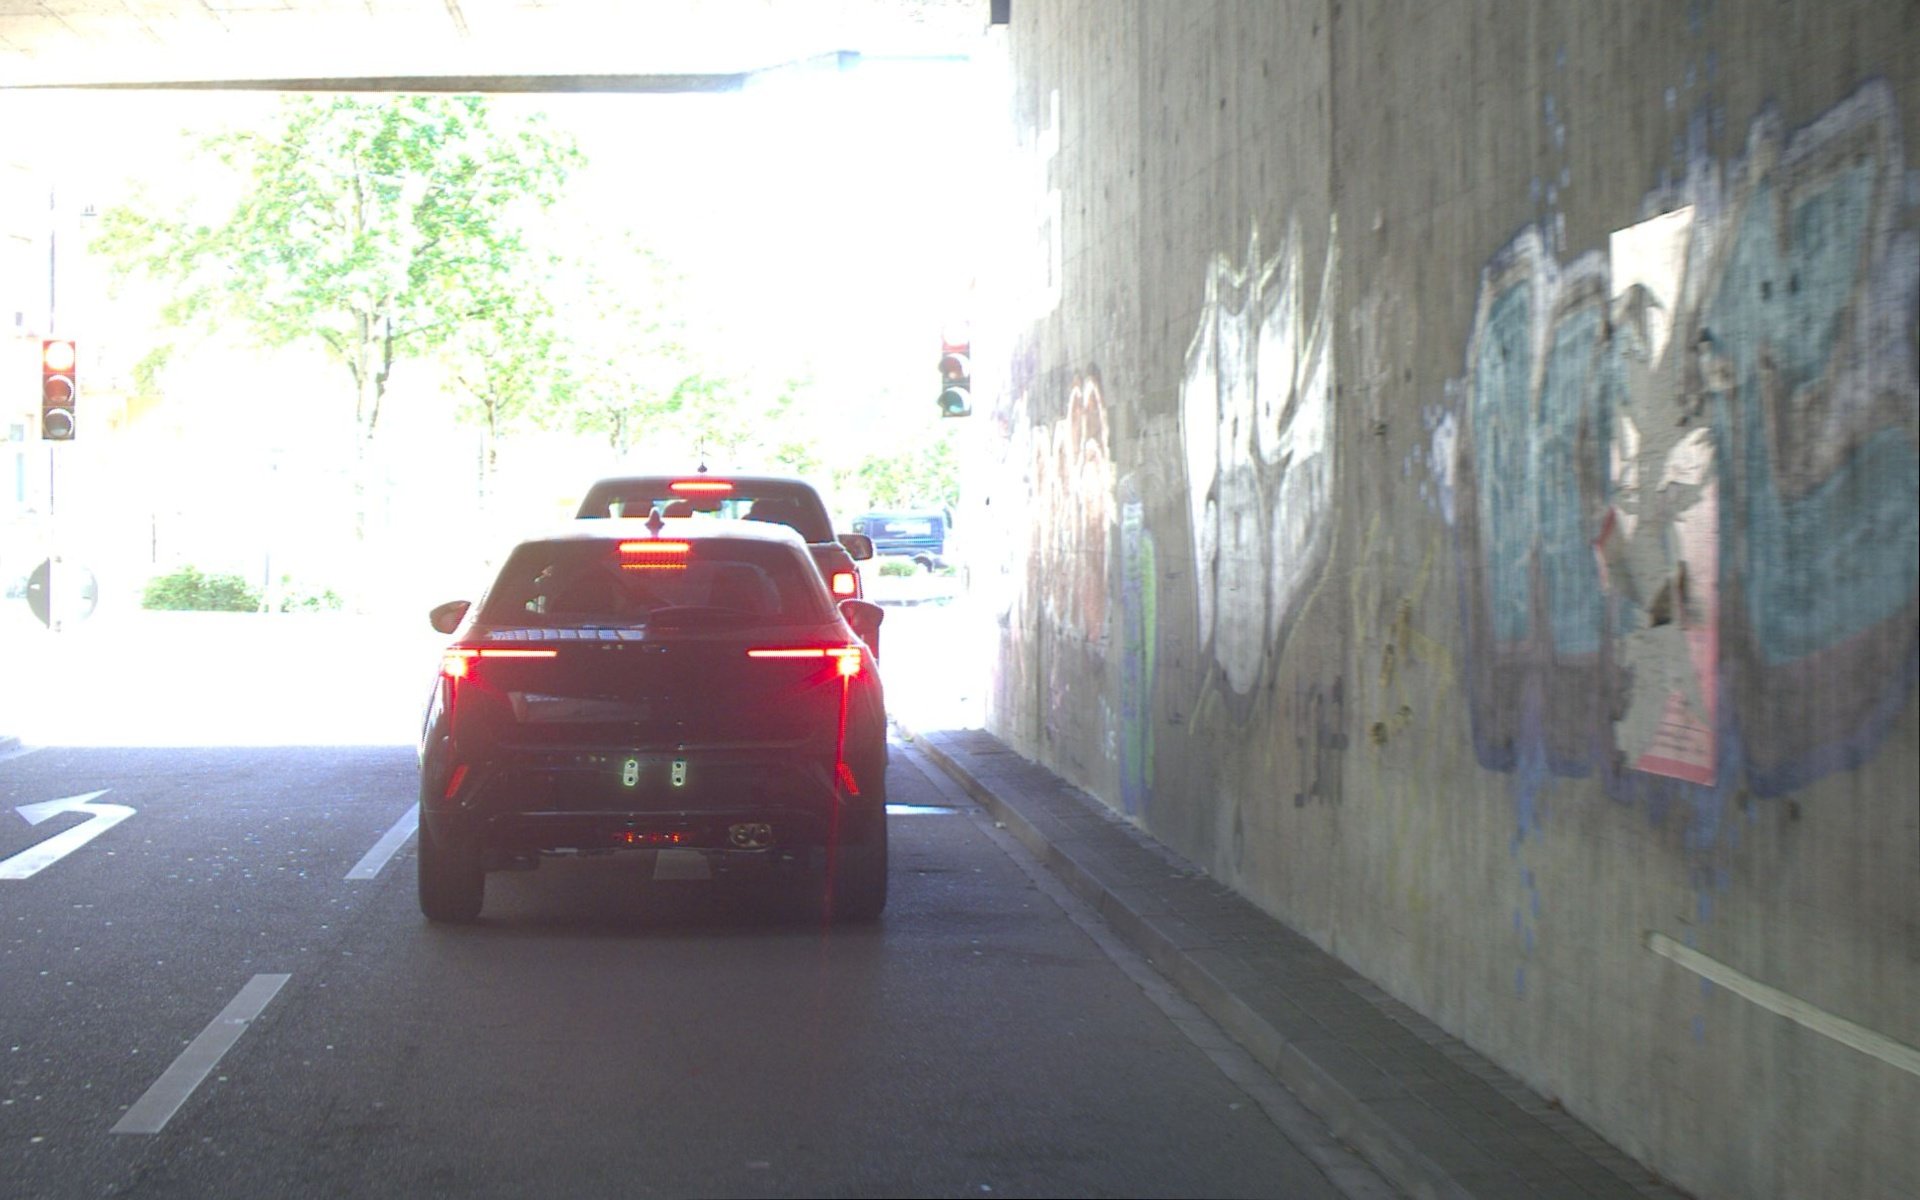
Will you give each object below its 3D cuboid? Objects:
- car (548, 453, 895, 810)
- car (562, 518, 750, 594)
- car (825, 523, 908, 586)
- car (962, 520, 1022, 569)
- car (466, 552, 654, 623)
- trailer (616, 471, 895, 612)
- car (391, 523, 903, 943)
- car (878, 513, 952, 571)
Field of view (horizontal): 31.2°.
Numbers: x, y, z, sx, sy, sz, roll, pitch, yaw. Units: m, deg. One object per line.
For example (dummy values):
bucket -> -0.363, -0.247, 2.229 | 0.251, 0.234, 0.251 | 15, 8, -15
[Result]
car -> -1.452, 0.110, 20.539 | 1.815, 1.876, 4.586 | -1, 1, -5
car -> -7.134, -1.042, 80.986 | 4.151, 1.733, 2.000 | -1, 1, 3
car -> -3.046, -1.516, 112.895 | 1.994, 2.007, 4.267 | 0, 1, 8
car -> 1.373, -2.382, 146.074 | 1.994, 2.007, 4.267 | 0, 1, 8
car -> -8.883, -0.285, 76.530 | 3.987, 1.568, 1.640 | 0, 1, 0
trailer -> -2.990, -0.880, 51.038 | 3.987, 2.007, 2.000 | -1, 1, 1
car -> -1.268, 0.427, 14.442 | 1.826, 1.496, 4.212 | 0, 1, -4
car -> -1.604, -2.102, 123.474 | 1.994, 2.007, 4.267 | 0, 1, 8
